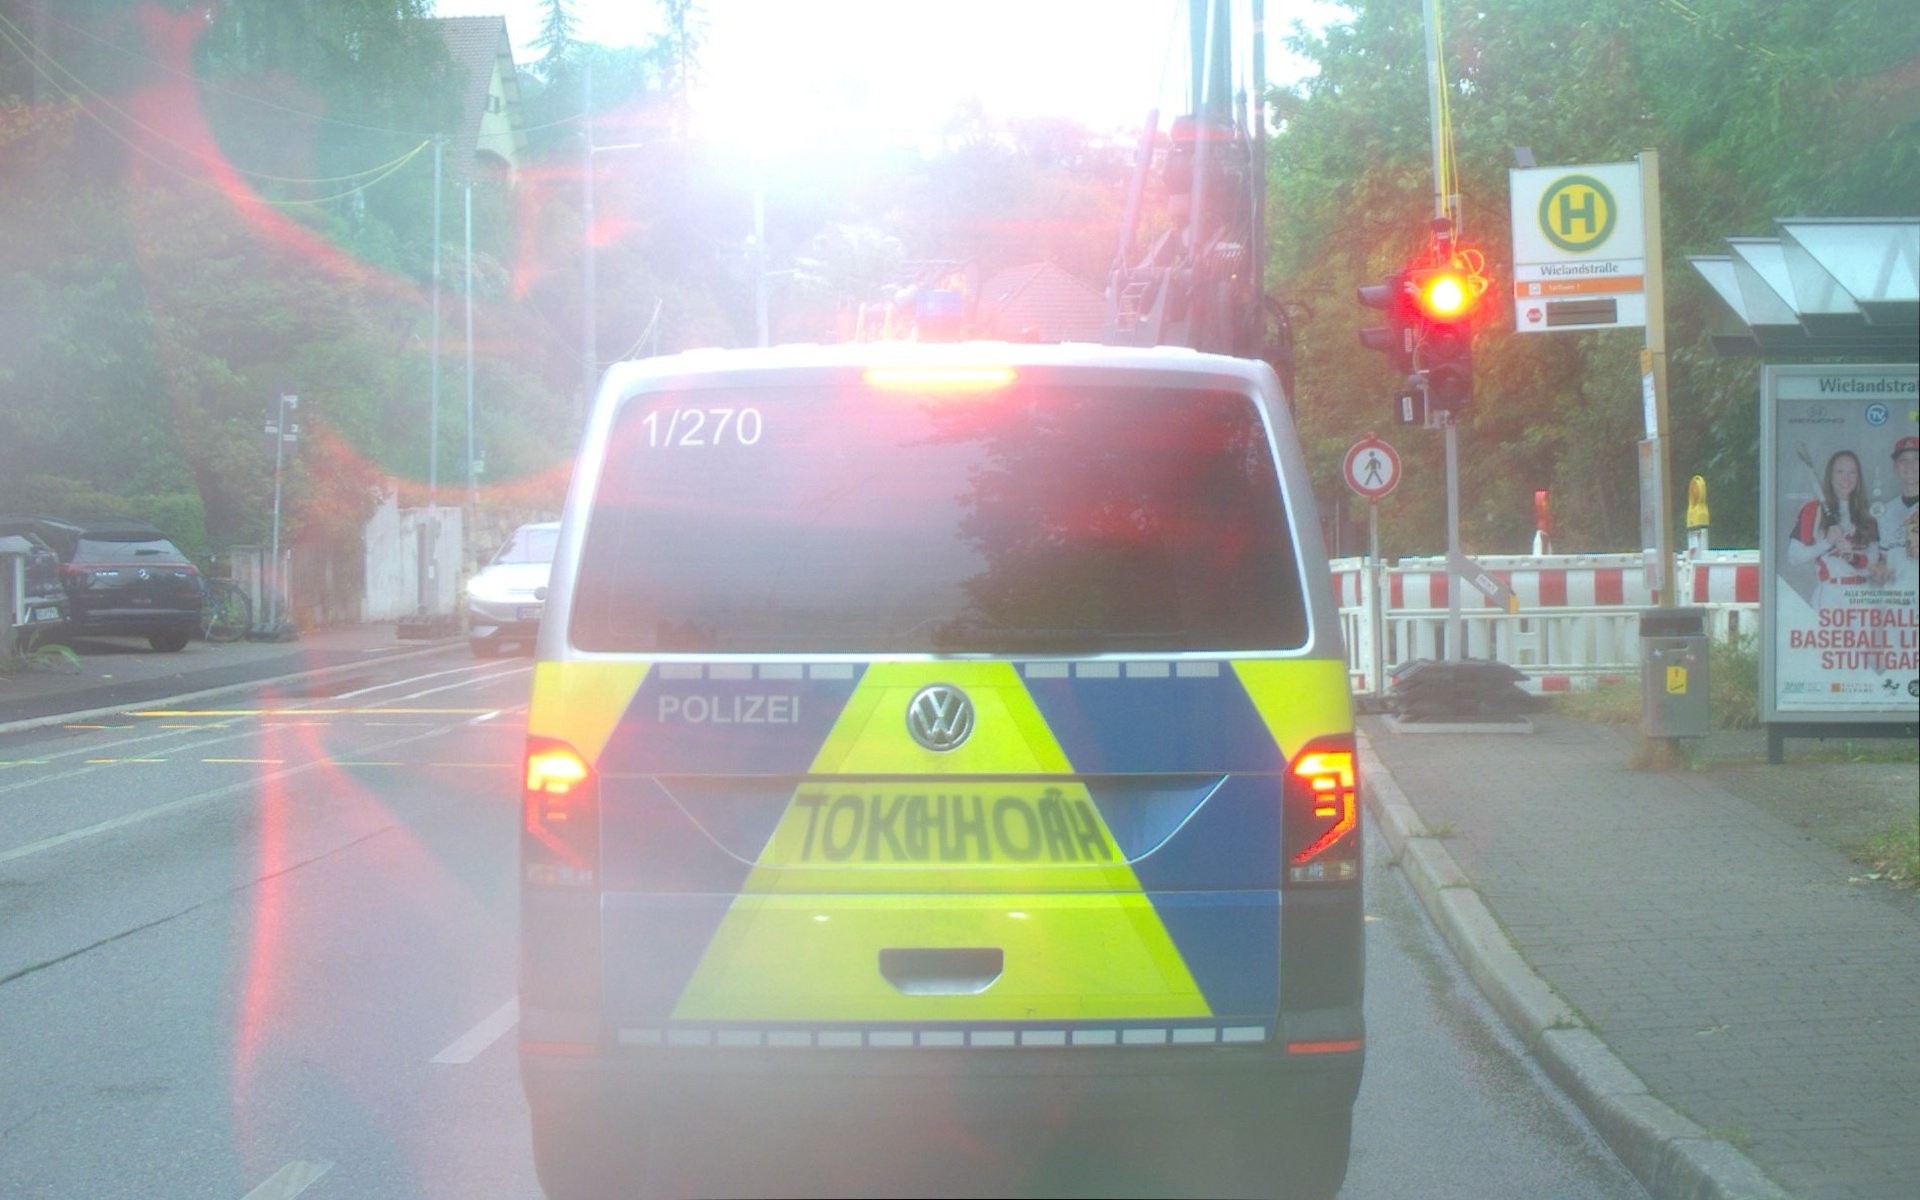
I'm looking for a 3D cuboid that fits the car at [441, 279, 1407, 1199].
[{"bbox_3d":[-0.097,0.357,8.829,1.893,2.043,4.000,1,1,-1],"label":"car"}]

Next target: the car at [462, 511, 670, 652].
[{"bbox_3d":[-4.548,-0.229,40.347,1.853,1.522,4.820,1,1,0],"label":"car"}]

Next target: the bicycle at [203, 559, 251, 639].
[{"bbox_3d":[-8.447,-0.022,39.589,0.462,0.894,1.634,0,1,-15],"label":"bicycle"}]

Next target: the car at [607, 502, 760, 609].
[{"bbox_3d":[-4.341,-0.706,54.514,1.867,1.616,4.164,1,1,3],"label":"car"}]

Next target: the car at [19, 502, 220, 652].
[{"bbox_3d":[-9.328,-0.282,37.972,1.765,1.481,3.743,1,3,-20],"label":"car"}]

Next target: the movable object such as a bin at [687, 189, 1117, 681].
[{"bbox_3d":[-0.425,-1.461,31.629,2.832,4.163,4.378,1,1,15],"label":"movable object such as a bin"}]
